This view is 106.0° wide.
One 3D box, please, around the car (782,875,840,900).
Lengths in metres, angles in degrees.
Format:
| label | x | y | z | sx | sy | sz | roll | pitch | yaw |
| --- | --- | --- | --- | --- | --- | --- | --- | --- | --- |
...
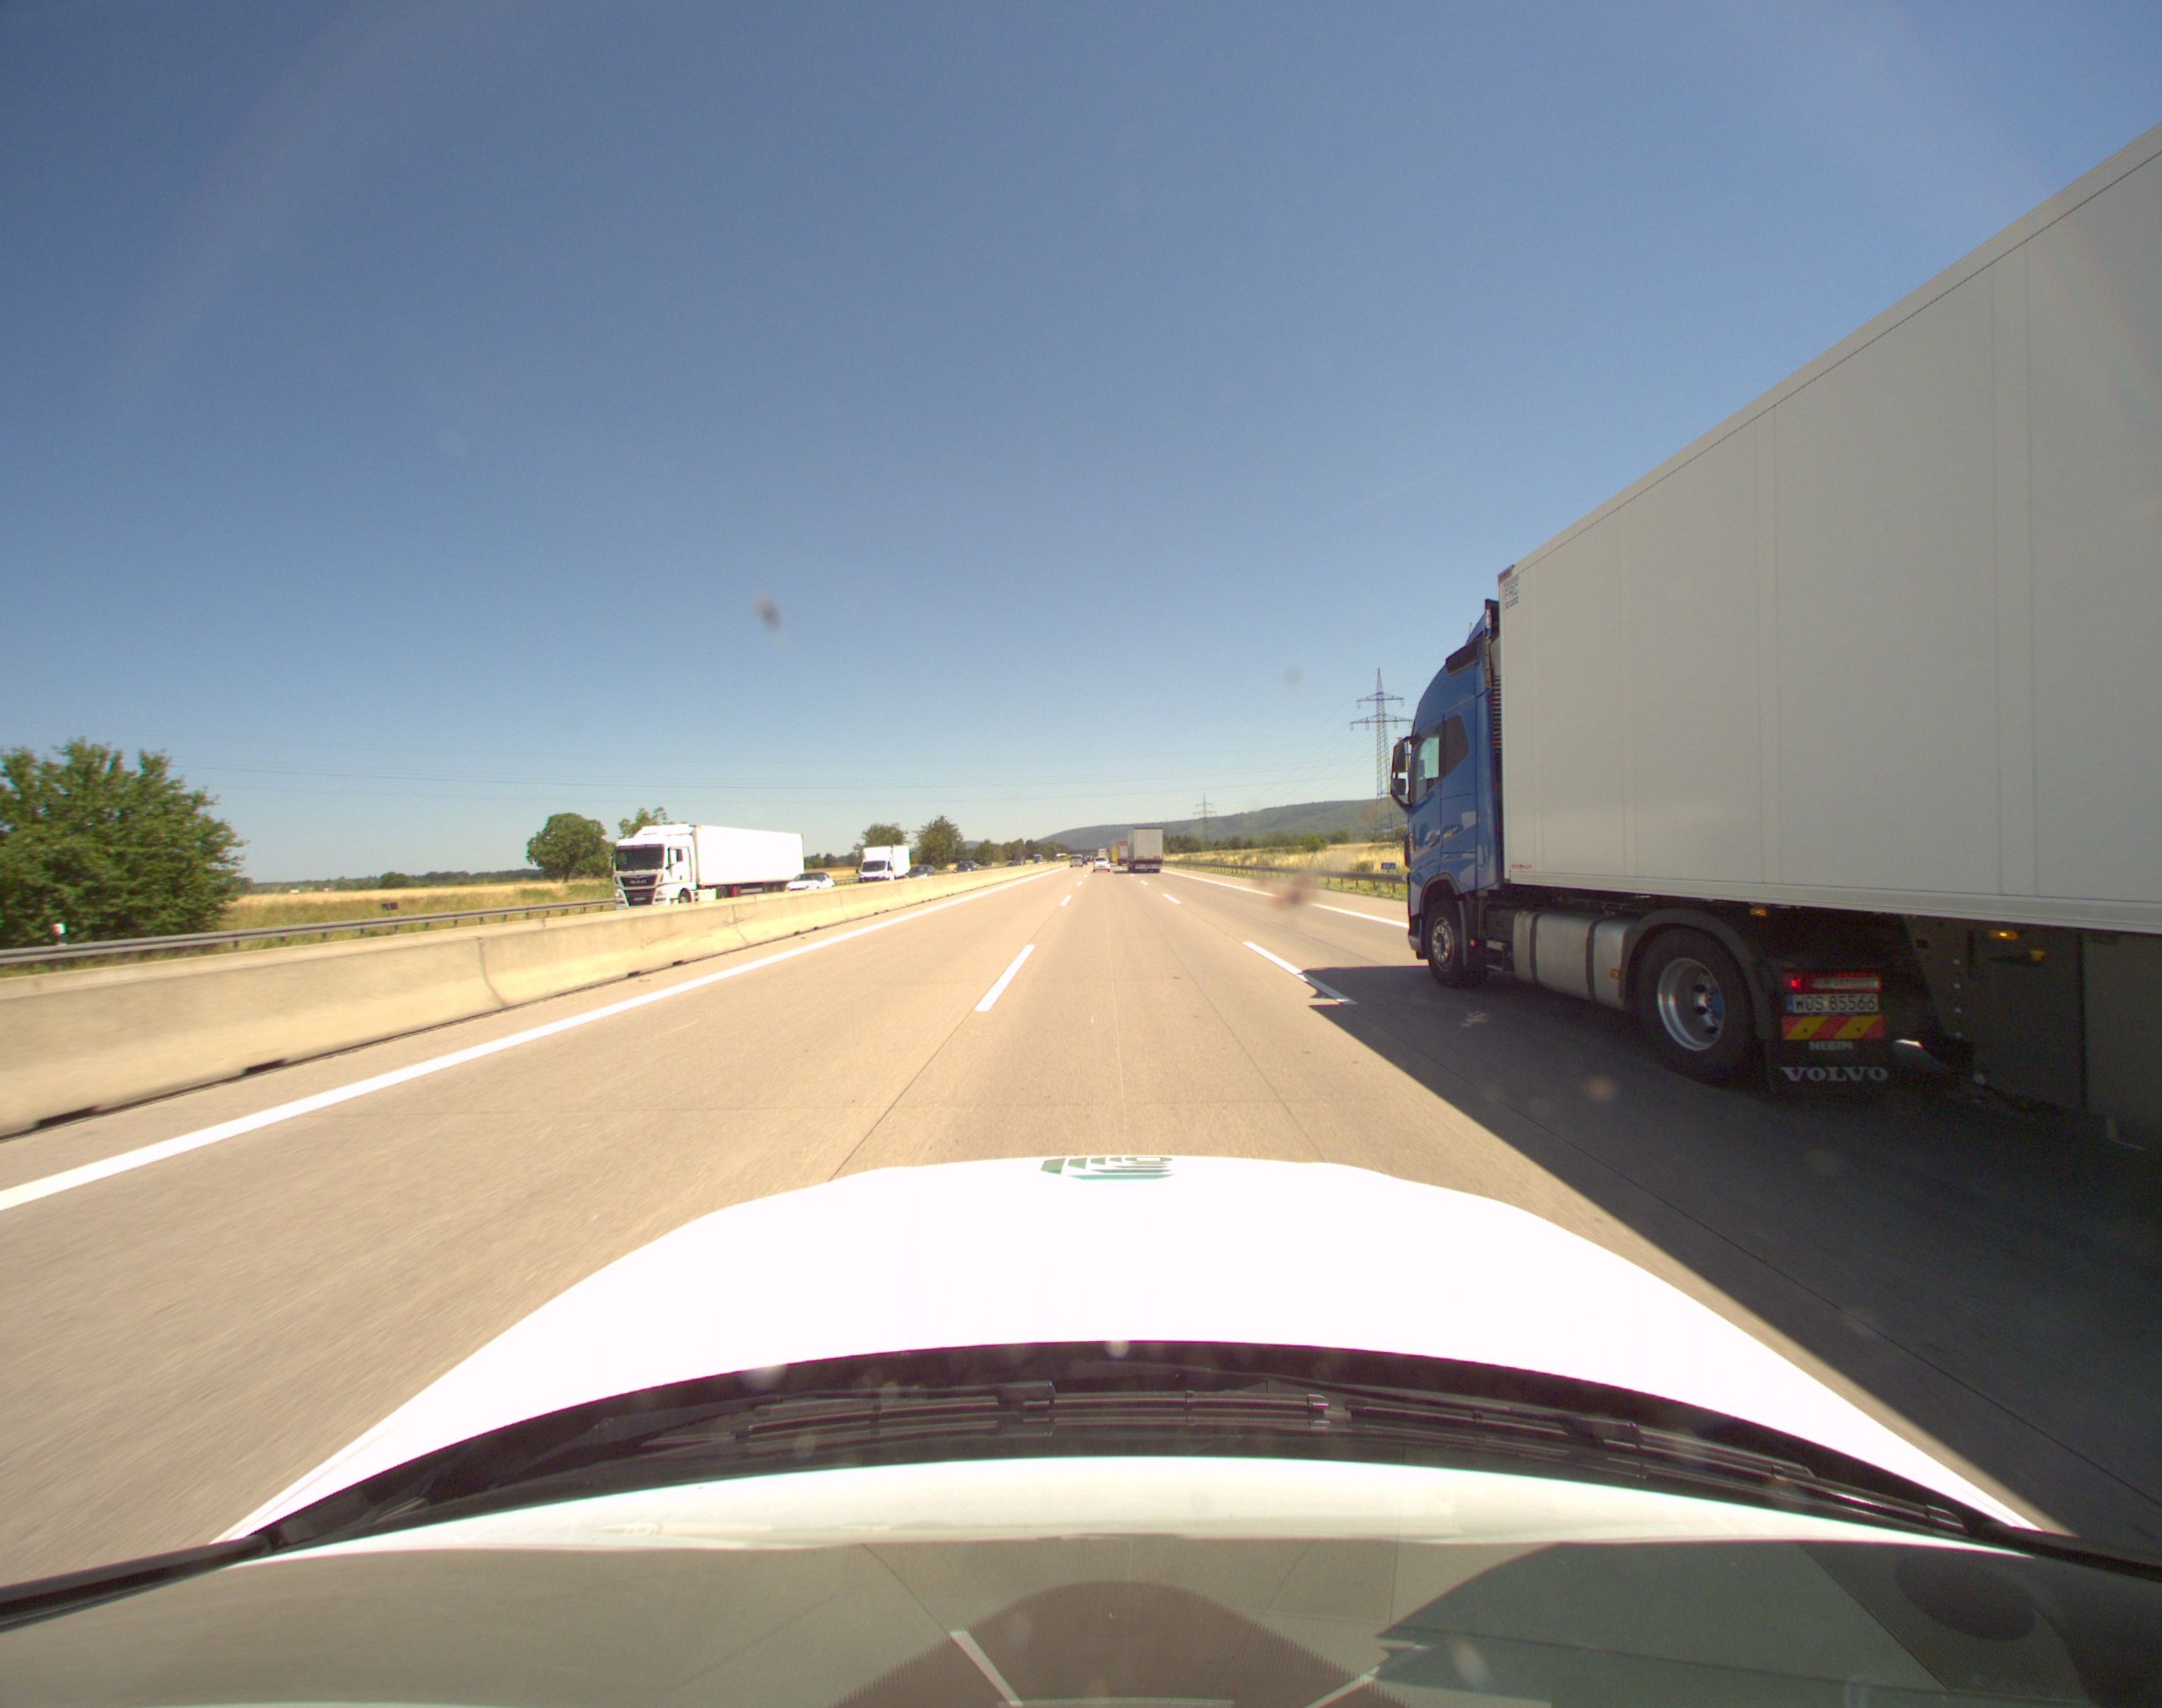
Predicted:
| label | x | y | z | sx | sy | sz | roll | pitch | yaw |
| --- | --- | --- | --- | --- | --- | --- | --- | --- | --- |
| car | -14.809 | 1.800 | 44.924 | 1.675 | 1.146 | 4.397 | -2 | 0 | 0 |

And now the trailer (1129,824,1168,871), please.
| label | x | y | z | sx | sy | sz | roll | pitch | yaw |
| --- | --- | --- | --- | --- | --- | --- | --- | --- | --- |
| trailer | 6.237 | -0.562 | 77.711 | 3.006 | 4.061 | 14.212 | -1 | 0 | 2 |

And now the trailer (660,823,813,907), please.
| label | x | y | z | sx | sy | sz | roll | pitch | yaw |
| --- | --- | --- | --- | --- | --- | --- | --- | --- | --- |
| trailer | -18.848 | 0.546 | 45.918 | 2.809 | 4.044 | 12.683 | -1 | 0 | 2 |

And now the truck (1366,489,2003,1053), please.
| label | x | y | z | sx | sy | sz | roll | pitch | yaw |
| --- | --- | --- | --- | --- | --- | --- | --- | --- | --- |
| truck | 5.300 | -0.590 | 8.610 | 2.740 | 4.044 | 5.467 | -1 | 0 | 1 |

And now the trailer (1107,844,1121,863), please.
| label | x | y | z | sx | sy | sz | roll | pitch | yaw |
| --- | --- | --- | --- | --- | --- | --- | --- | --- | --- |
| trailer | 7.895 | -0.052 | 197.627 | 3.204 | 4.564 | 13.461 | -1 | 0 | 2 |

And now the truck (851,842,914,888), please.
| label | x | y | z | sx | sy | sz | roll | pitch | yaw |
| --- | --- | --- | --- | --- | --- | --- | --- | --- | --- |
| truck | -14.517 | 0.756 | 60.247 | 2.538 | 3.142 | 7.924 | -1 | 0 | 1 |

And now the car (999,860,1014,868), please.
| label | x | y | z | sx | sy | sz | roll | pitch | yaw |
| --- | --- | --- | --- | --- | --- | --- | --- | --- | --- |
| car | -10.597 | 1.407 | 115.913 | 1.515 | 1.053 | 3.525 | -1 | 0 | 3 |

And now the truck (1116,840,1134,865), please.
| label | x | y | z | sx | sy | sz | roll | pitch | yaw |
| --- | --- | --- | --- | --- | --- | --- | --- | --- | --- |
| truck | 7.616 | -0.221 | 141.939 | 2.894 | 4.101 | 6.275 | -1 | 0 | 2 |

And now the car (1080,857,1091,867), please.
| label | x | y | z | sx | sy | sz | roll | pitch | yaw |
| --- | --- | --- | --- | --- | --- | --- | --- | --- | --- |
| car | 0.797 | 1.544 | 157.090 | 1.986 | 1.957 | 4.001 | -1 | 0 | 2 |

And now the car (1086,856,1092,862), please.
| label | x | y | z | sx | sy | sz | roll | pitch | yaw |
| --- | --- | --- | --- | --- | --- | --- | --- | --- | --- |
| car | 2.396 | 1.402 | 239.657 | 1.777 | 1.881 | 4.001 | -1 | 0 | 2 |

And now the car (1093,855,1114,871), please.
| label | x | y | z | sx | sy | sz | roll | pitch | yaw |
| --- | --- | --- | --- | --- | --- | --- | --- | --- | --- |
| car | 2.289 | 0.862 | 82.095 | 2.099 | 1.536 | 4.125 | -1 | 0 | 3 |

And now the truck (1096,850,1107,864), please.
| label | x | y | z | sx | sy | sz | roll | pitch | yaw |
| --- | --- | --- | --- | --- | --- | --- | --- | --- | --- |
| truck | 6.372 | 0.865 | 252.913 | 3.341 | 4.272 | 8.231 | -1 | 0 | 1 |

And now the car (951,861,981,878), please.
| label | x | y | z | sx | sy | sz | roll | pitch | yaw |
| --- | --- | --- | --- | --- | --- | --- | --- | --- | --- |
| car | -10.223 | 1.341 | 72.784 | 1.839 | 1.351 | 4.496 | -2 | 0 | 2 |

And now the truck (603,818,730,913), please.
| label | x | y | z | sx | sy | sz | roll | pitch | yaw |
| --- | --- | --- | --- | --- | --- | --- | --- | --- | --- |
| truck | -19.104 | 0.508 | 37.939 | 2.808 | 4.044 | 5.680 | -1 | 0 | 2 |

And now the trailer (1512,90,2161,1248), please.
| label | x | y | z | sx | sy | sz | roll | pitch | yaw |
| --- | --- | --- | --- | --- | --- | --- | --- | --- | --- |
| trailer | 5.074 | -0.661 | 0.852 | 2.699 | 4.043 | 12.906 | -1 | 0 | 2 |

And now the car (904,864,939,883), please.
| label | x | y | z | sx | sy | sz | roll | pitch | yaw |
| --- | --- | --- | --- | --- | --- | --- | --- | --- | --- |
| car | -10.344 | 1.250 | 52.990 | 1.537 | 1.163 | 3.376 | -1 | 0 | 1 |

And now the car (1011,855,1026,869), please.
| label | x | y | z | sx | sy | sz | roll | pitch | yaw |
| --- | --- | --- | --- | --- | --- | --- | --- | --- | --- |
| car | -12.968 | 1.616 | 169.490 | 2.239 | 2.786 | 6.795 | -1 | 0 | 2 |

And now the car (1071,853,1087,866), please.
| label | x | y | z | sx | sy | sz | roll | pitch | yaw |
| --- | --- | --- | --- | --- | --- | --- | --- | --- | --- |
| car | -0.263 | 0.840 | 125.749 | 2.246 | 2.014 | 4.299 | -1 | 0 | 2 |

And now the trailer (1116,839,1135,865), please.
| label | x | y | z | sx | sy | sz | roll | pitch | yaw |
| --- | --- | --- | --- | --- | --- | --- | --- | --- | --- |
| trailer | 7.385 | -0.244 | 136.429 | 2.862 | 4.101 | 13.519 | -1 | 0 | 2 |
